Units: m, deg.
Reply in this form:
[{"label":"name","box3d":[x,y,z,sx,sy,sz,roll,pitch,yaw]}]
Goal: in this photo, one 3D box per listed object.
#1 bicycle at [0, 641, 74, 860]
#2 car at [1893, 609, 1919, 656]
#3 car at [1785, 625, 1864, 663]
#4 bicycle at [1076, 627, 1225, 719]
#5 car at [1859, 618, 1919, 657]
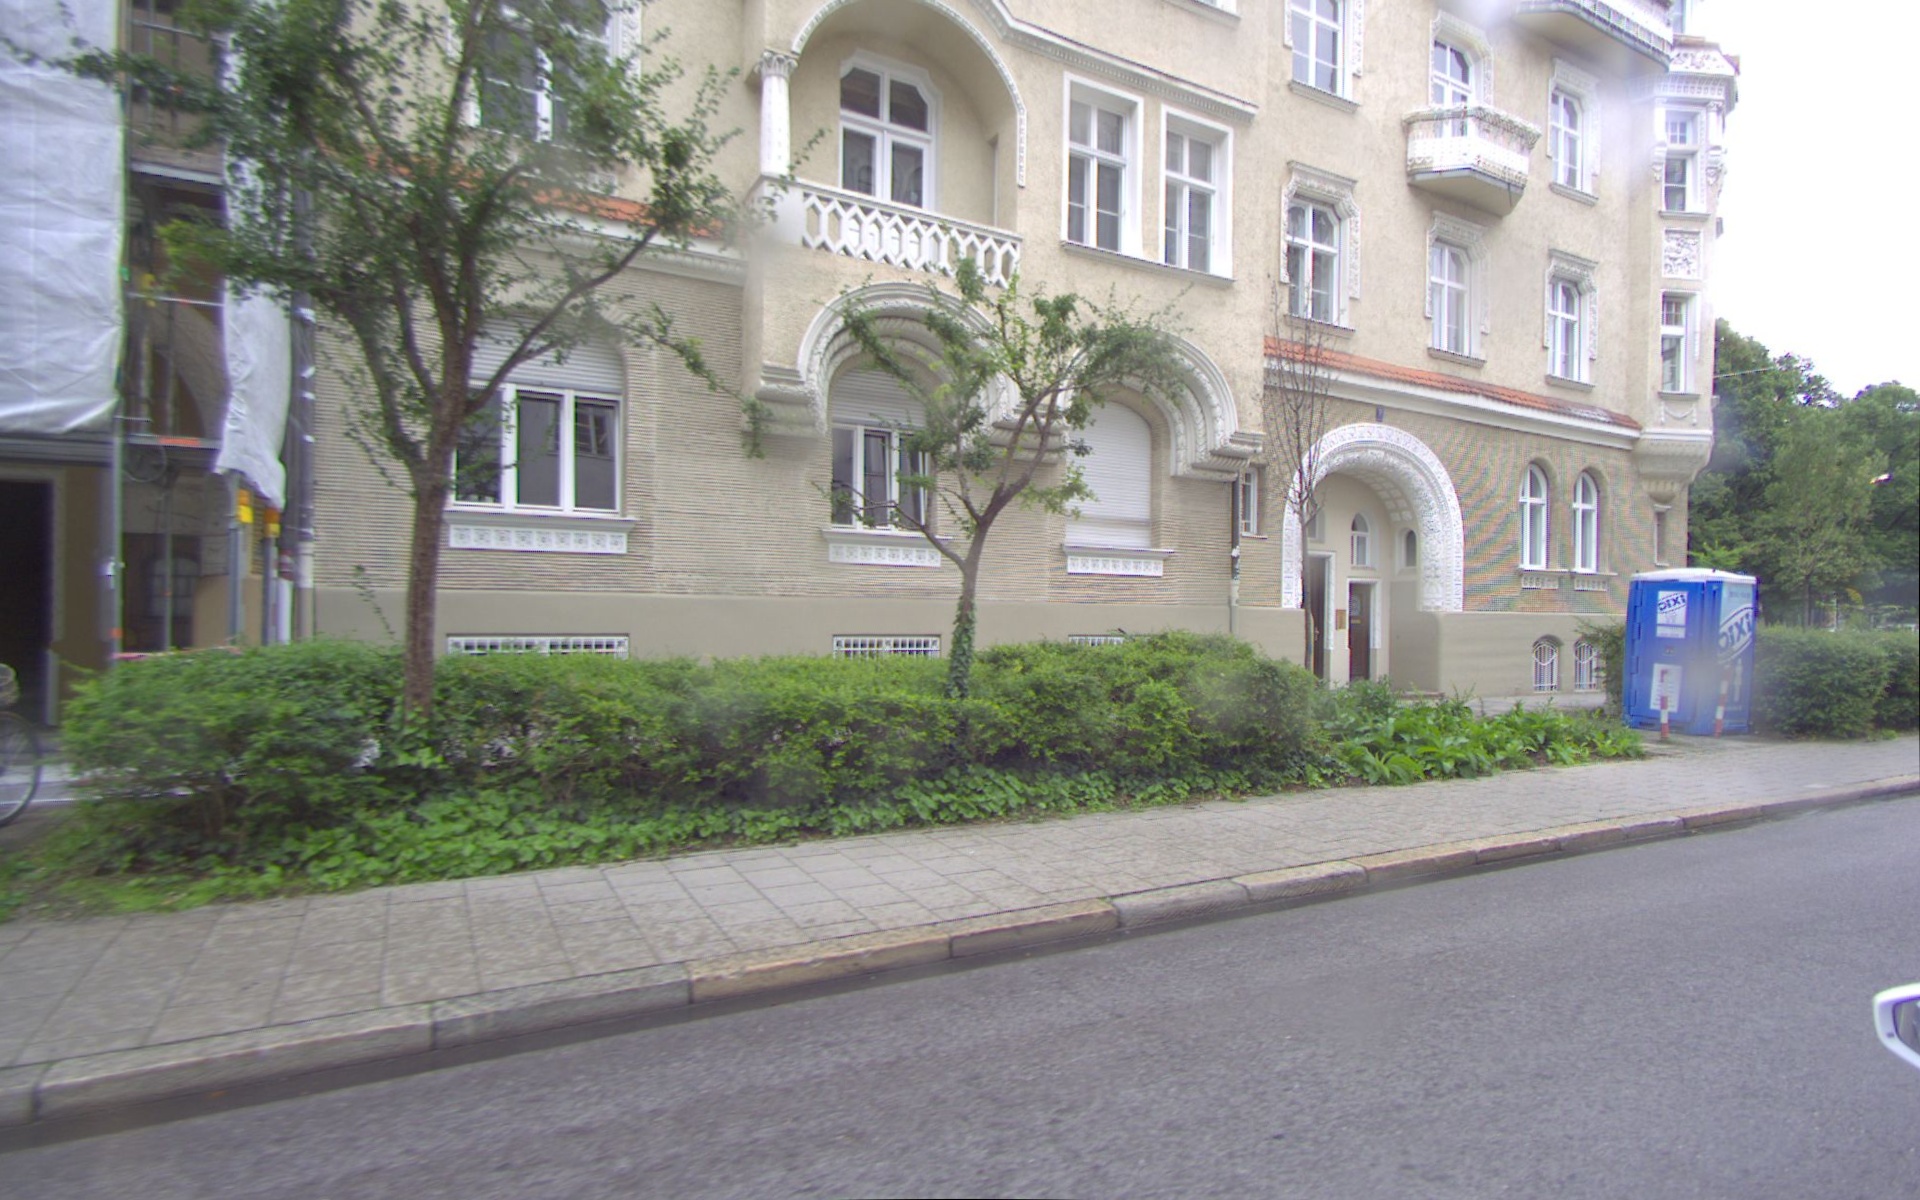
[{"label":"bicycle","box3d":[-5.637,0.859,5.518,0.681,1.092,1.853,1,3,-26]},{"label":"car","box3d":[64.181,2.167,66.705,6.175,3.042,2.157,2,-2,-37]},{"label":"car","box3d":[45.537,2.302,52.893,4.810,1.929,2.070,2,-2,-35]},{"label":"bicycle","box3d":[2.754,1.020,14.479,2.052,1.222,0.817,1,0,-29]},{"label":"car","box3d":[57.069,2.313,61.313,5.548,2.294,2.070,2,-3,-36]}]
